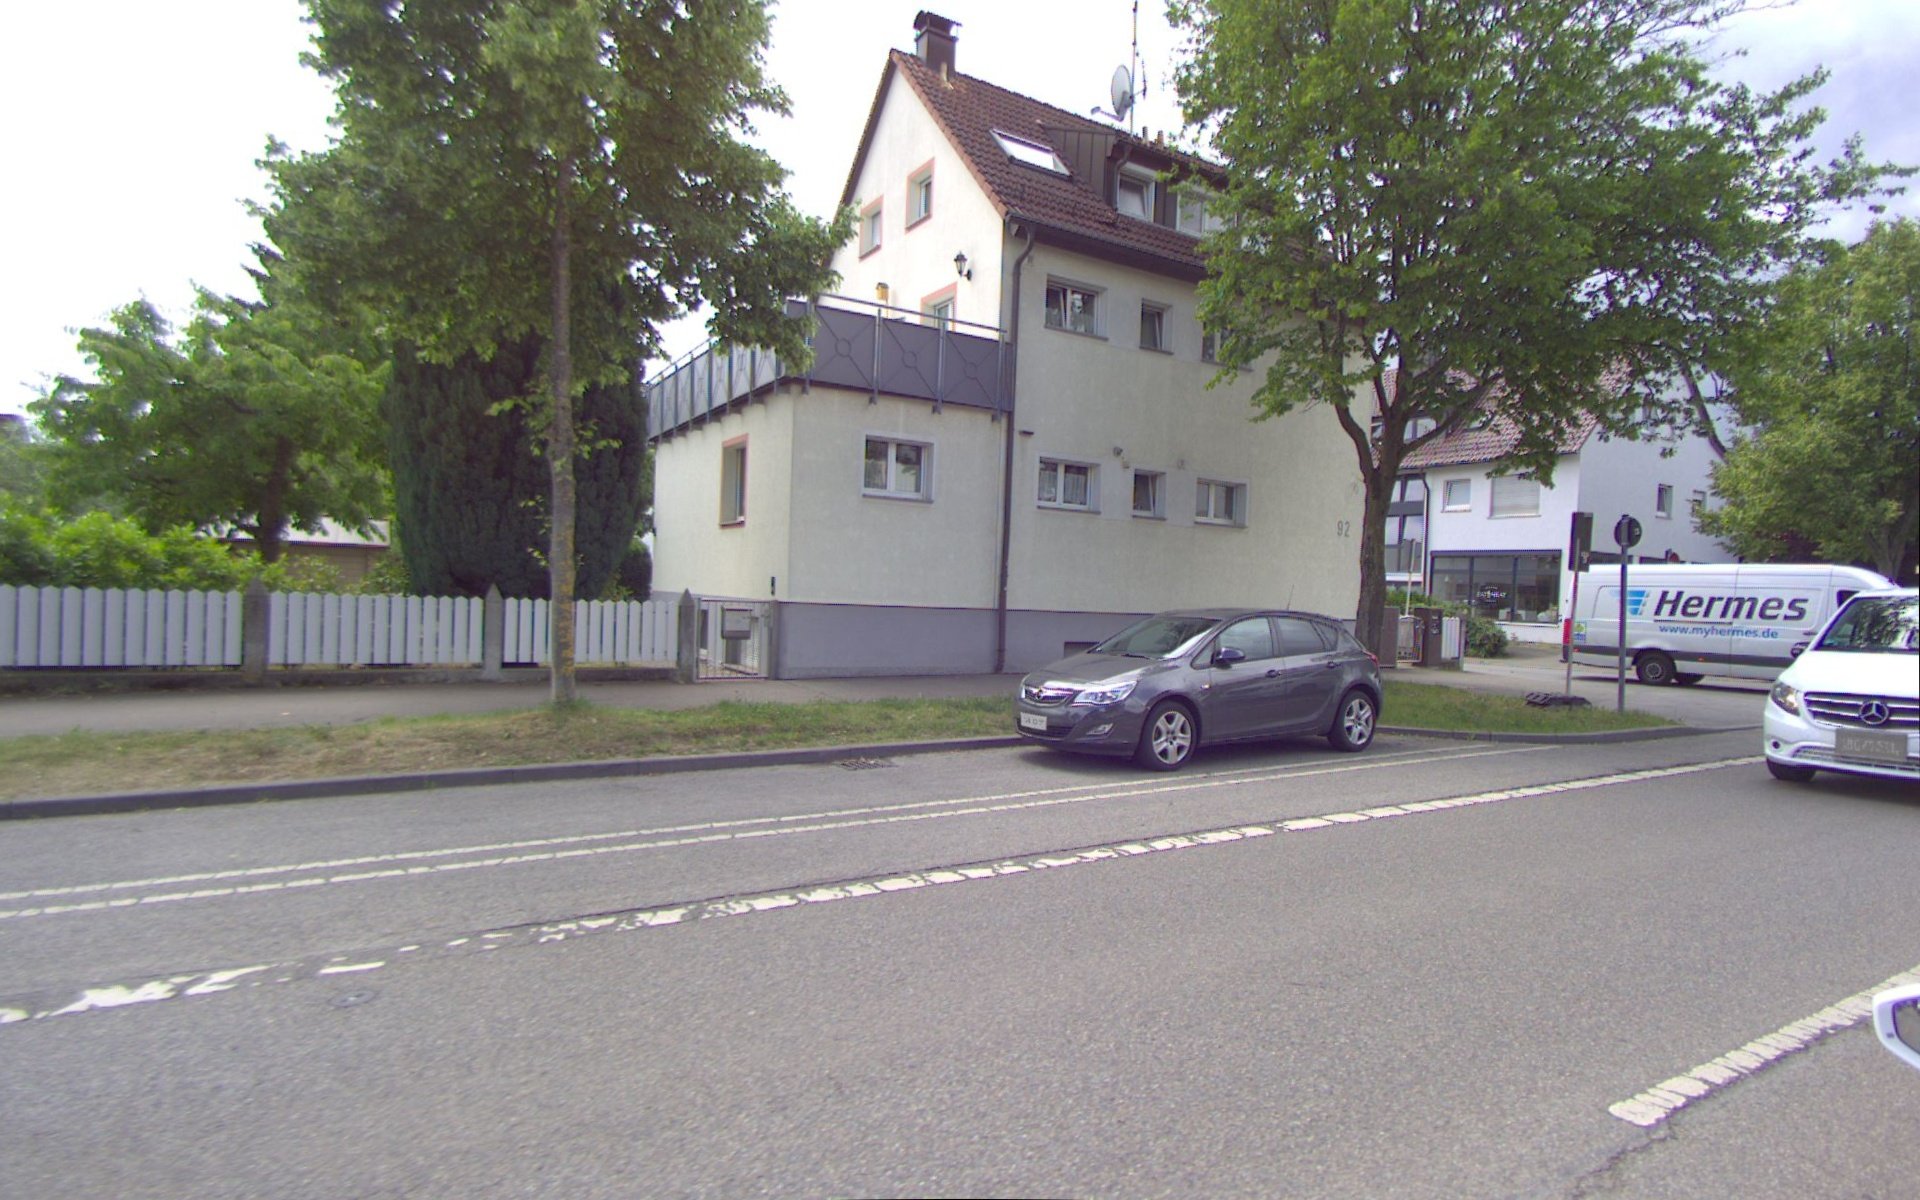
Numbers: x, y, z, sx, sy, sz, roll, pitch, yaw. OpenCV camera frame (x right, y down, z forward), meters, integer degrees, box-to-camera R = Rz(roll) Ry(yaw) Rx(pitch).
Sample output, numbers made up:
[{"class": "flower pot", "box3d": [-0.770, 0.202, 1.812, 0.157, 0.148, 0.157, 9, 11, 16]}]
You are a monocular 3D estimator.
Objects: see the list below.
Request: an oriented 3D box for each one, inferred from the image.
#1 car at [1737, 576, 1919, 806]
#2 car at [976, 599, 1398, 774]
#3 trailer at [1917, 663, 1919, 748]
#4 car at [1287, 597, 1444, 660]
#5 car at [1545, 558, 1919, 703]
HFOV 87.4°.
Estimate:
[{"class": "car", "box3d": [9.643, 0.779, 9.591, 4.765, 1.855, 1.956, 1, 0, -32]}, {"class": "car", "box3d": [2.423, 0.783, 10.422, 4.251, 1.488, 1.722, 1, 0, -31]}, {"class": "trailer", "box3d": [13.633, 0.937, 12.096, 4.636, 1.699, 1.927, 1, 0, -32]}, {"class": "car", "box3d": [12.879, 0.882, 32.120, 1.854, 1.801, 4.320, 3, -1, -34]}, {"class": "car", "box3d": [16.659, 0.520, 21.147, 2.197, 2.629, 7.242, 1, 0, -34]}]
